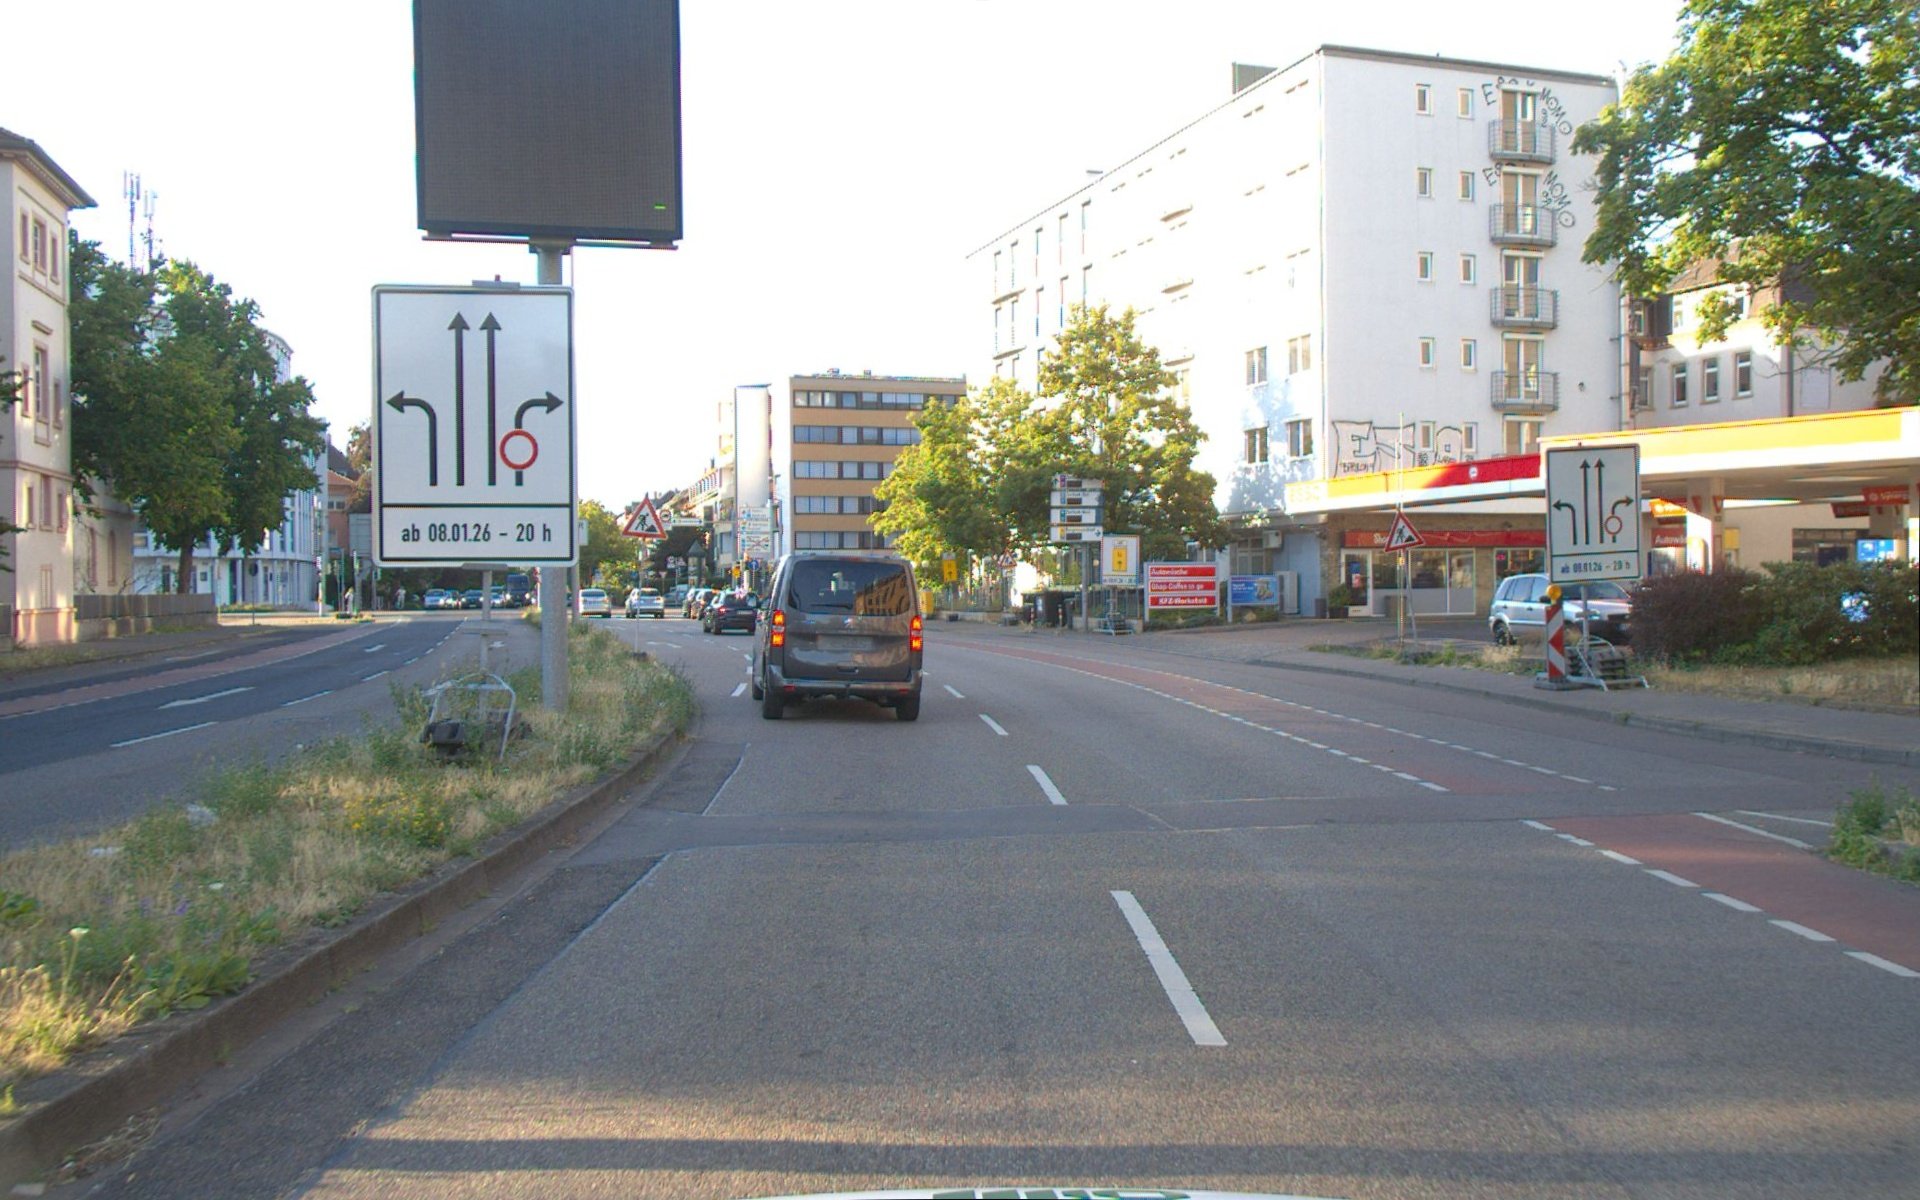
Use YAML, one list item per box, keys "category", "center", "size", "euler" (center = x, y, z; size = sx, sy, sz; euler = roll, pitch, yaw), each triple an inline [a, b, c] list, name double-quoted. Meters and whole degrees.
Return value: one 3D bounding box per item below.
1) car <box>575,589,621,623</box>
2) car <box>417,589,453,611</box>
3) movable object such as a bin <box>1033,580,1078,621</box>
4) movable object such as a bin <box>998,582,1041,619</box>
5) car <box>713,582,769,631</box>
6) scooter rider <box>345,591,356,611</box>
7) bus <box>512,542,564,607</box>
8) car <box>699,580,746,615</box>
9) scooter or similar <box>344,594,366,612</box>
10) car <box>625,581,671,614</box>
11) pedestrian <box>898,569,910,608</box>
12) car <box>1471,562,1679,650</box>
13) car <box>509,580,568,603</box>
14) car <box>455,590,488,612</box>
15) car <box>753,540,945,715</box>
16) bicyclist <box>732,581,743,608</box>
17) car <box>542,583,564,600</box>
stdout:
- category: "car"
  center: [-18.890, 0.286, 86.250]
  size: [1.962, 1.685, 4.278]
  euler: [-1, 1, -17]
- category: "car"
  center: [-41.105, -0.034, 129.581]
  size: [1.956, 1.623, 3.993]
  euler: [0, 1, -8]
- category: "movable object such as a bin"
  center: [3.572, 0.018, 61.772]
  size: [1.435, 1.479, 1.545]
  euler: [-1, 1, -7]
- category: "movable object such as a bin"
  center: [2.329, 0.028, 65.001]
  size: [1.435, 1.410, 1.545]
  euler: [-1, 1, -7]
- category: "car"
  center: [-7.351, 0.197, 55.476]
  size: [1.811, 1.571, 3.625]
  euler: [0, 1, -8]
- category: "scooter rider"
  center: [-33.264, 0.060, 90.295]
  size: [0.503, 1.054, 0.442]
  euler: [1, 0, -26]
- category: "bus"
  center: [-32.153, -1.888, 125.788]
  size: [3.239, 4.697, 9.949]
  euler: [1, 0, -18]
- category: "car"
  center: [-12.022, -0.160, 83.615]
  size: [1.959, 1.685, 4.284]
  euler: [-1, 1, -13]
- category: "scooter or similar"
  center: [-33.060, 0.174, 90.385]
  size: [1.085, 0.993, 0.555]
  euler: [1, 0, -25]
- category: "car"
  center: [-16.538, -0.163, 87.541]
  size: [1.962, 1.685, 4.278]
  euler: [-1, 1, -17]
- category: "pedestrian"
  center: [-2.968, -0.611, 87.153]
  size: [0.483, 2.049, 0.661]
  euler: [-1, 0, -16]
- category: "car"
  center: [11.611, 0.084, 31.563]
  size: [1.740, 1.556, 4.341]
  euler: [-1, 1, -11]
- category: "car"
  center: [-30.902, -0.662, 121.250]
  size: [3.932, 1.623, 1.987]
  euler: [-1, 1, -23]
- category: "car"
  center: [-38.515, 0.081, 130.500]
  size: [1.956, 1.623, 3.993]
  euler: [0, 1, -8]
- category: "car"
  center: [-1.493, 0.292, 20.618]
  size: [1.957, 1.934, 4.290]
  euler: [1, 0, -9]
- category: "bicyclist"
  center: [-12.221, -0.314, 90.921]
  size: [0.532, 1.485, 0.639]
  euler: [-1, 0, -14]
- category: "car"
  center: [-42.811, -0.912, 173.977]
  size: [1.821, 1.738, 3.704]
  euler: [-1, 1, -19]
